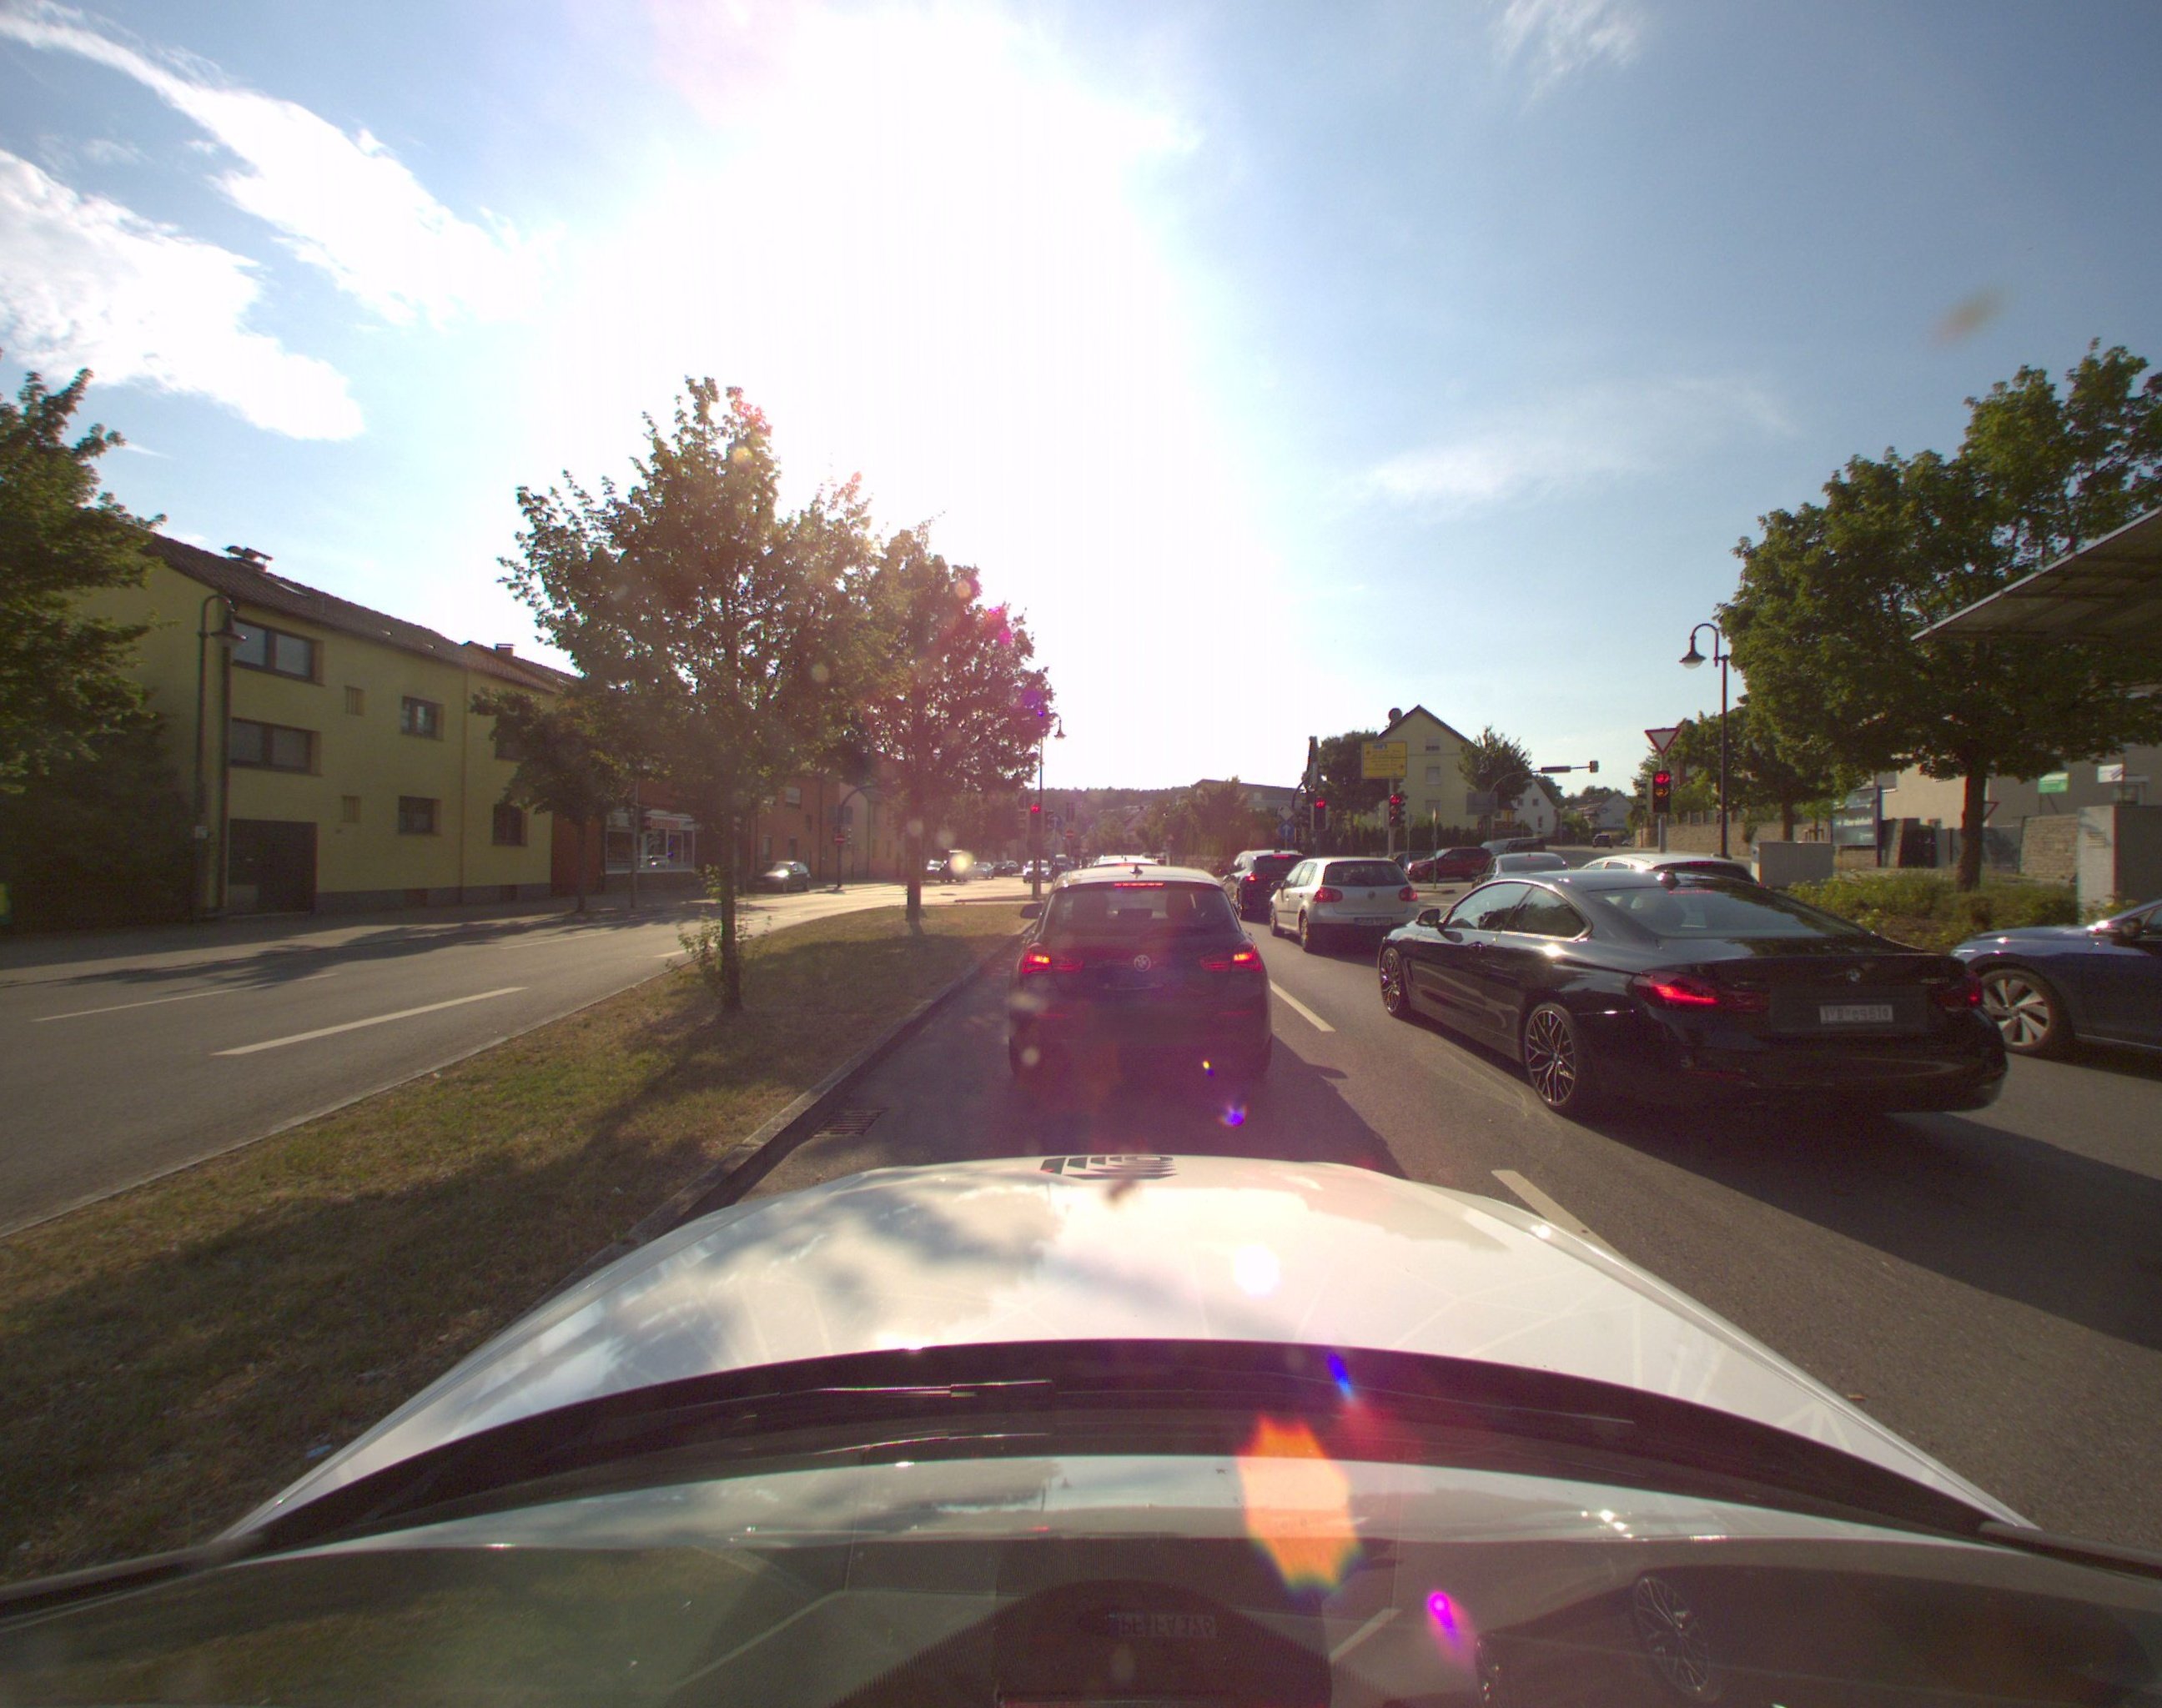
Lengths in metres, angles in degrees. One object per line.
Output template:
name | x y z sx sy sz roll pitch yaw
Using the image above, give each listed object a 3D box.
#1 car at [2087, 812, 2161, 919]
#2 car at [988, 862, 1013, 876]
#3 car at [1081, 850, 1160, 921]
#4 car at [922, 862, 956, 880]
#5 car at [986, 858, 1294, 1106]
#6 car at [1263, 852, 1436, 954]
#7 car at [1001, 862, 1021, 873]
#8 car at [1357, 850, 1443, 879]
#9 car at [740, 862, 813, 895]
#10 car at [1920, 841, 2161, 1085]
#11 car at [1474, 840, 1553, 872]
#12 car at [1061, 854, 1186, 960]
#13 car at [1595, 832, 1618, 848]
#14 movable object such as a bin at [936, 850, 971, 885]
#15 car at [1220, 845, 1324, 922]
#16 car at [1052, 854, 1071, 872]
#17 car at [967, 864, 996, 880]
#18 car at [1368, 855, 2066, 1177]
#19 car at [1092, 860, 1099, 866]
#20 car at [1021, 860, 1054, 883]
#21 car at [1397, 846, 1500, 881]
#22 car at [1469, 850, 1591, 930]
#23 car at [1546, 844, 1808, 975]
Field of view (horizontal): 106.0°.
car | 18.494 0.162 12.387 3.793 1.632 1.784 0 0 10
car | -8.304 1.561 84.255 1.729 1.301 3.804 4 0 5
car | 1.021 0.740 21.153 1.781 1.594 4.283 -2 0 2
car | -11.743 1.417 67.597 1.728 1.301 4.006 4 0 6
car | 0.442 0.774 6.970 1.781 1.397 4.283 -2 0 2
car | 4.322 0.717 13.765 1.755 1.426 3.905 -2 0 2
car | -8.839 1.678 103.261 1.729 1.301 3.804 4 0 5
car | 17.347 0.570 44.362 3.974 1.489 1.848 0 0 -1
car | -14.138 1.110 38.035 1.730 1.301 4.002 4 0 2
car | 7.404 0.654 4.243 1.754 1.453 4.323 -2 0 4
car | 24.785 0.080 46.616 4.801 1.739 1.830 0 0 -32
car | 0.720 0.781 14.114 1.781 1.494 4.283 -2 0 2
car | 61.626 -1.632 95.411 1.945 1.680 4.242 -2 0 37
movable object such as a bin | -9.436 0.983 60.565 1.729 2.442 4.452 -1 0 3
car | 4.569 0.650 20.047 1.755 1.656 3.905 -2 0 2
car | -2.609 1.262 110.780 2.075 2.394 5.534 0 0 4
car | -8.789 1.545 72.132 1.728 1.301 3.804 -1 0 5
car | 3.620 0.741 5.825 1.755 1.397 4.283 -2 0 2
car | 4.102 2.503 228.497 1.729 1.301 3.804 4 0 5
car | -2.951 1.149 55.740 1.832 1.482 4.002 -1 0 2
car | 18.350 0.457 40.739 4.410 1.641 1.845 0 0 -6
car | 9.882 0.715 18.240 1.642 1.542 4.420 -2 0 19
car | 8.111 0.673 11.467 1.608 1.542 3.326 -2 0 9
